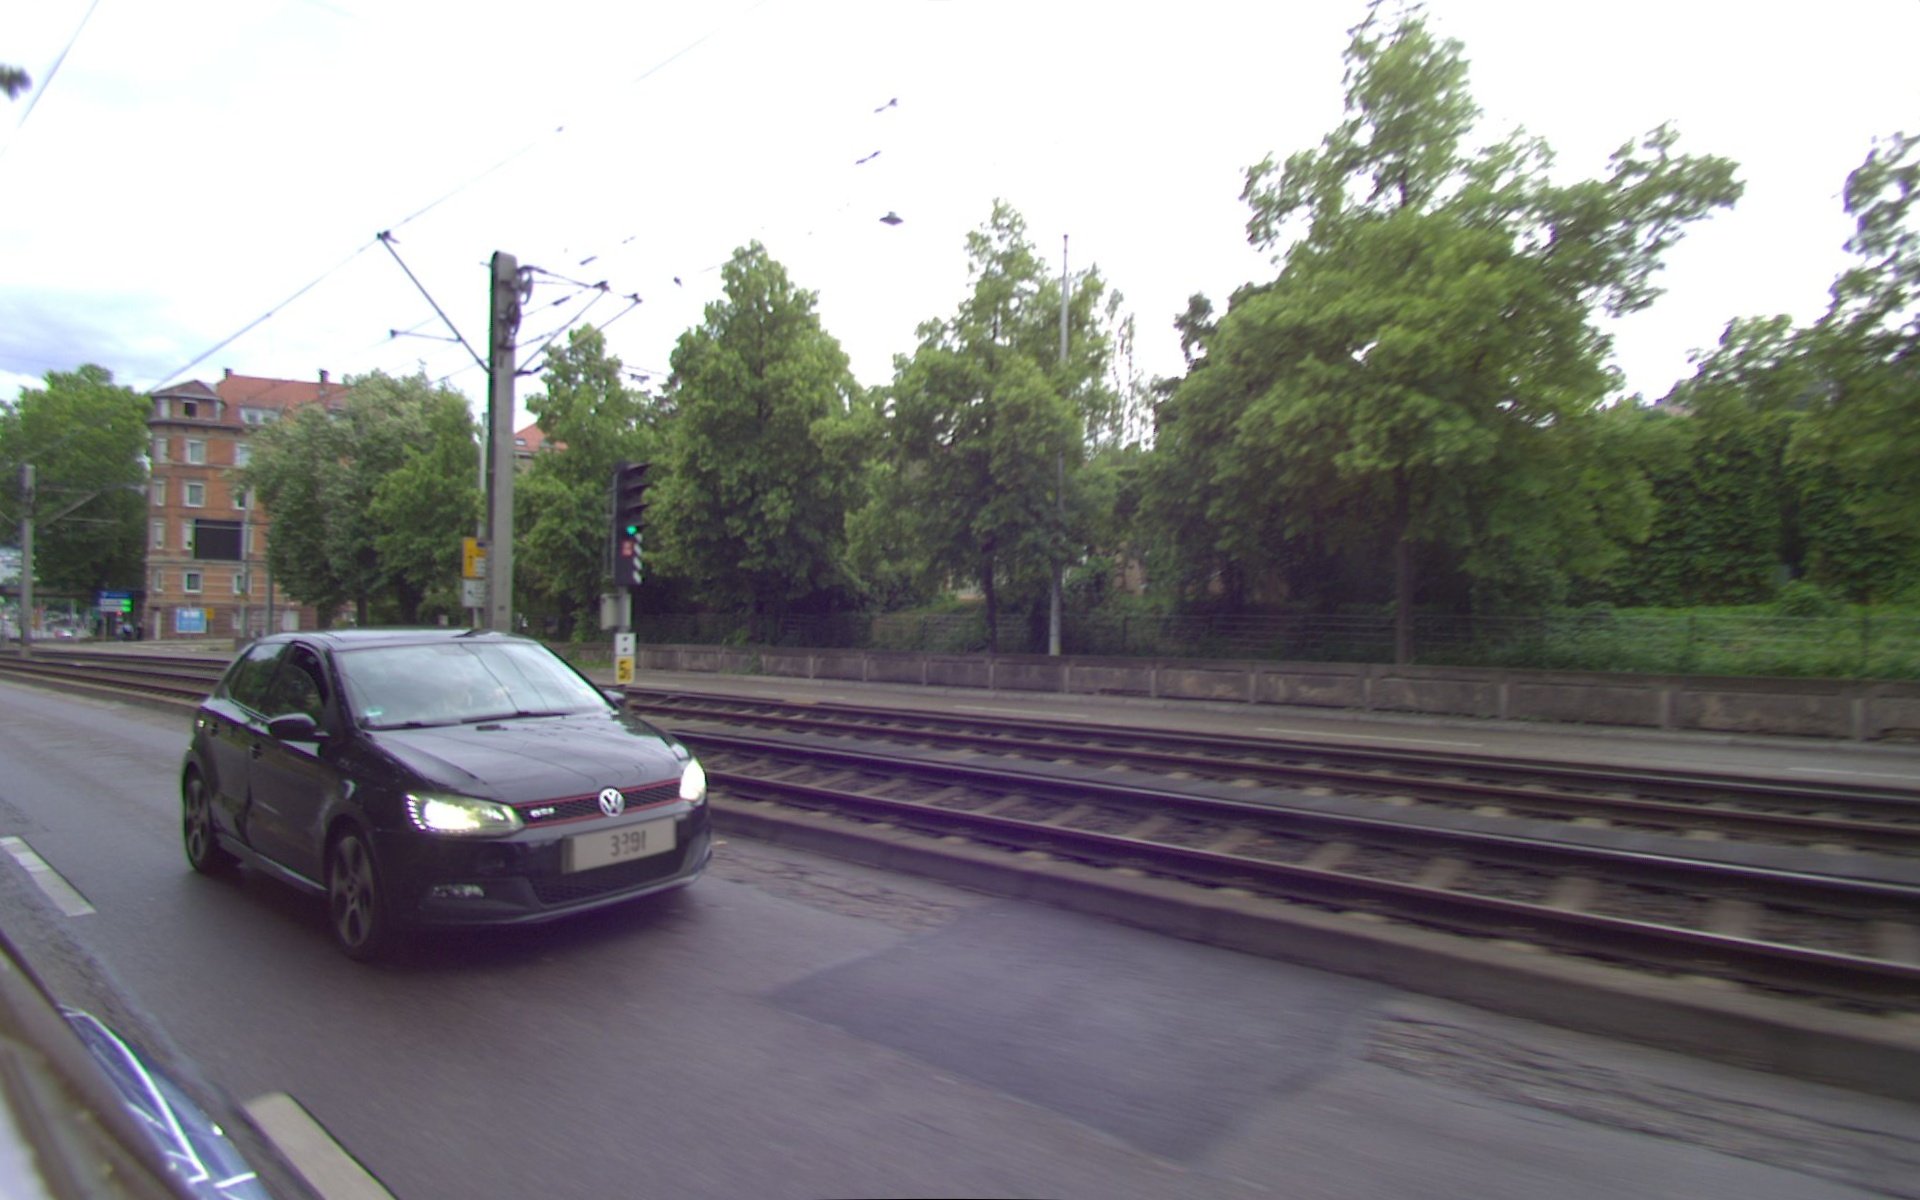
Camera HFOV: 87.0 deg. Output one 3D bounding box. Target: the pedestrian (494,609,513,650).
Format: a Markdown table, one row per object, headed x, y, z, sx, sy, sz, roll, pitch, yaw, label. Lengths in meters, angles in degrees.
| x | y | z | sx | sy | sz | roll | pitch | yaw | label |
| --- | --- | --- | --- | --- | --- | --- | --- | --- | --- |
| -22.078 | 1.418 | 48.960 | 0.653 | 1.917 | 0.590 | -1 | 0 | 37 | pedestrian |

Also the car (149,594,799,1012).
| x | y | z | sx | sy | sz | roll | pitch | yaw | label |
| --- | --- | --- | --- | --- | --- | --- | --- | --- | --- |
| -2.876 | 0.786 | 5.612 | 3.961 | 1.497 | 1.776 | -2 | -2 | 40 | car |
